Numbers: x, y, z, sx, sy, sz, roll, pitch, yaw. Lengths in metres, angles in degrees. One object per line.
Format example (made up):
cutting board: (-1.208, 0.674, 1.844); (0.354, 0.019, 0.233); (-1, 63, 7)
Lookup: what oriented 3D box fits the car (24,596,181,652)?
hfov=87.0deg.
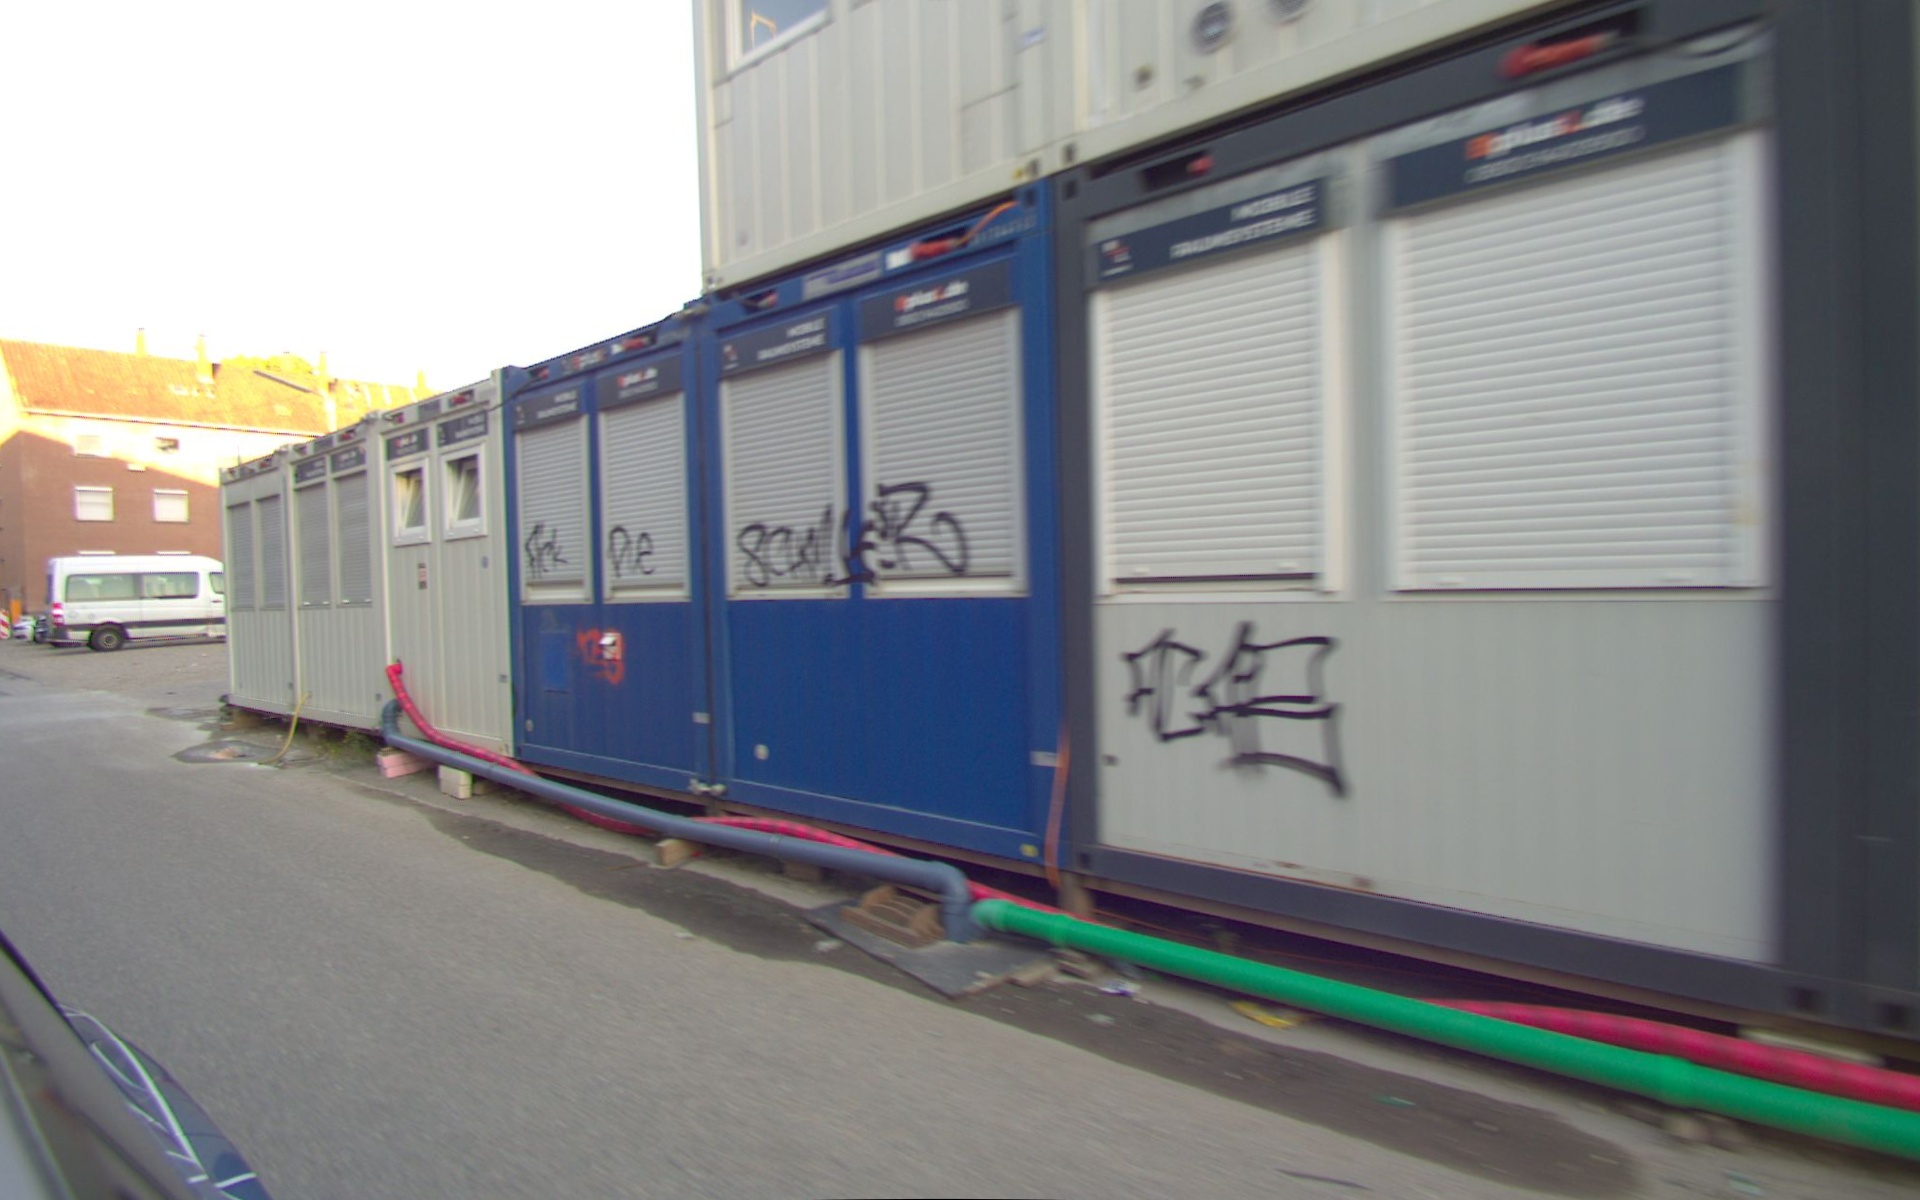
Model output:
car: (-27.945, 0.741, 33.065); (1.769, 1.527, 3.677); (-1, 3, 43)

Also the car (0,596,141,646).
car: (-32.614, 0.742, 37.170); (1.809, 1.527, 3.677); (-1, 3, 43)

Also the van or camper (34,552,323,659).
van or camper: (-23.065, 0.038, 30.152); (2.407, 2.659, 6.386); (-1, 3, 43)
